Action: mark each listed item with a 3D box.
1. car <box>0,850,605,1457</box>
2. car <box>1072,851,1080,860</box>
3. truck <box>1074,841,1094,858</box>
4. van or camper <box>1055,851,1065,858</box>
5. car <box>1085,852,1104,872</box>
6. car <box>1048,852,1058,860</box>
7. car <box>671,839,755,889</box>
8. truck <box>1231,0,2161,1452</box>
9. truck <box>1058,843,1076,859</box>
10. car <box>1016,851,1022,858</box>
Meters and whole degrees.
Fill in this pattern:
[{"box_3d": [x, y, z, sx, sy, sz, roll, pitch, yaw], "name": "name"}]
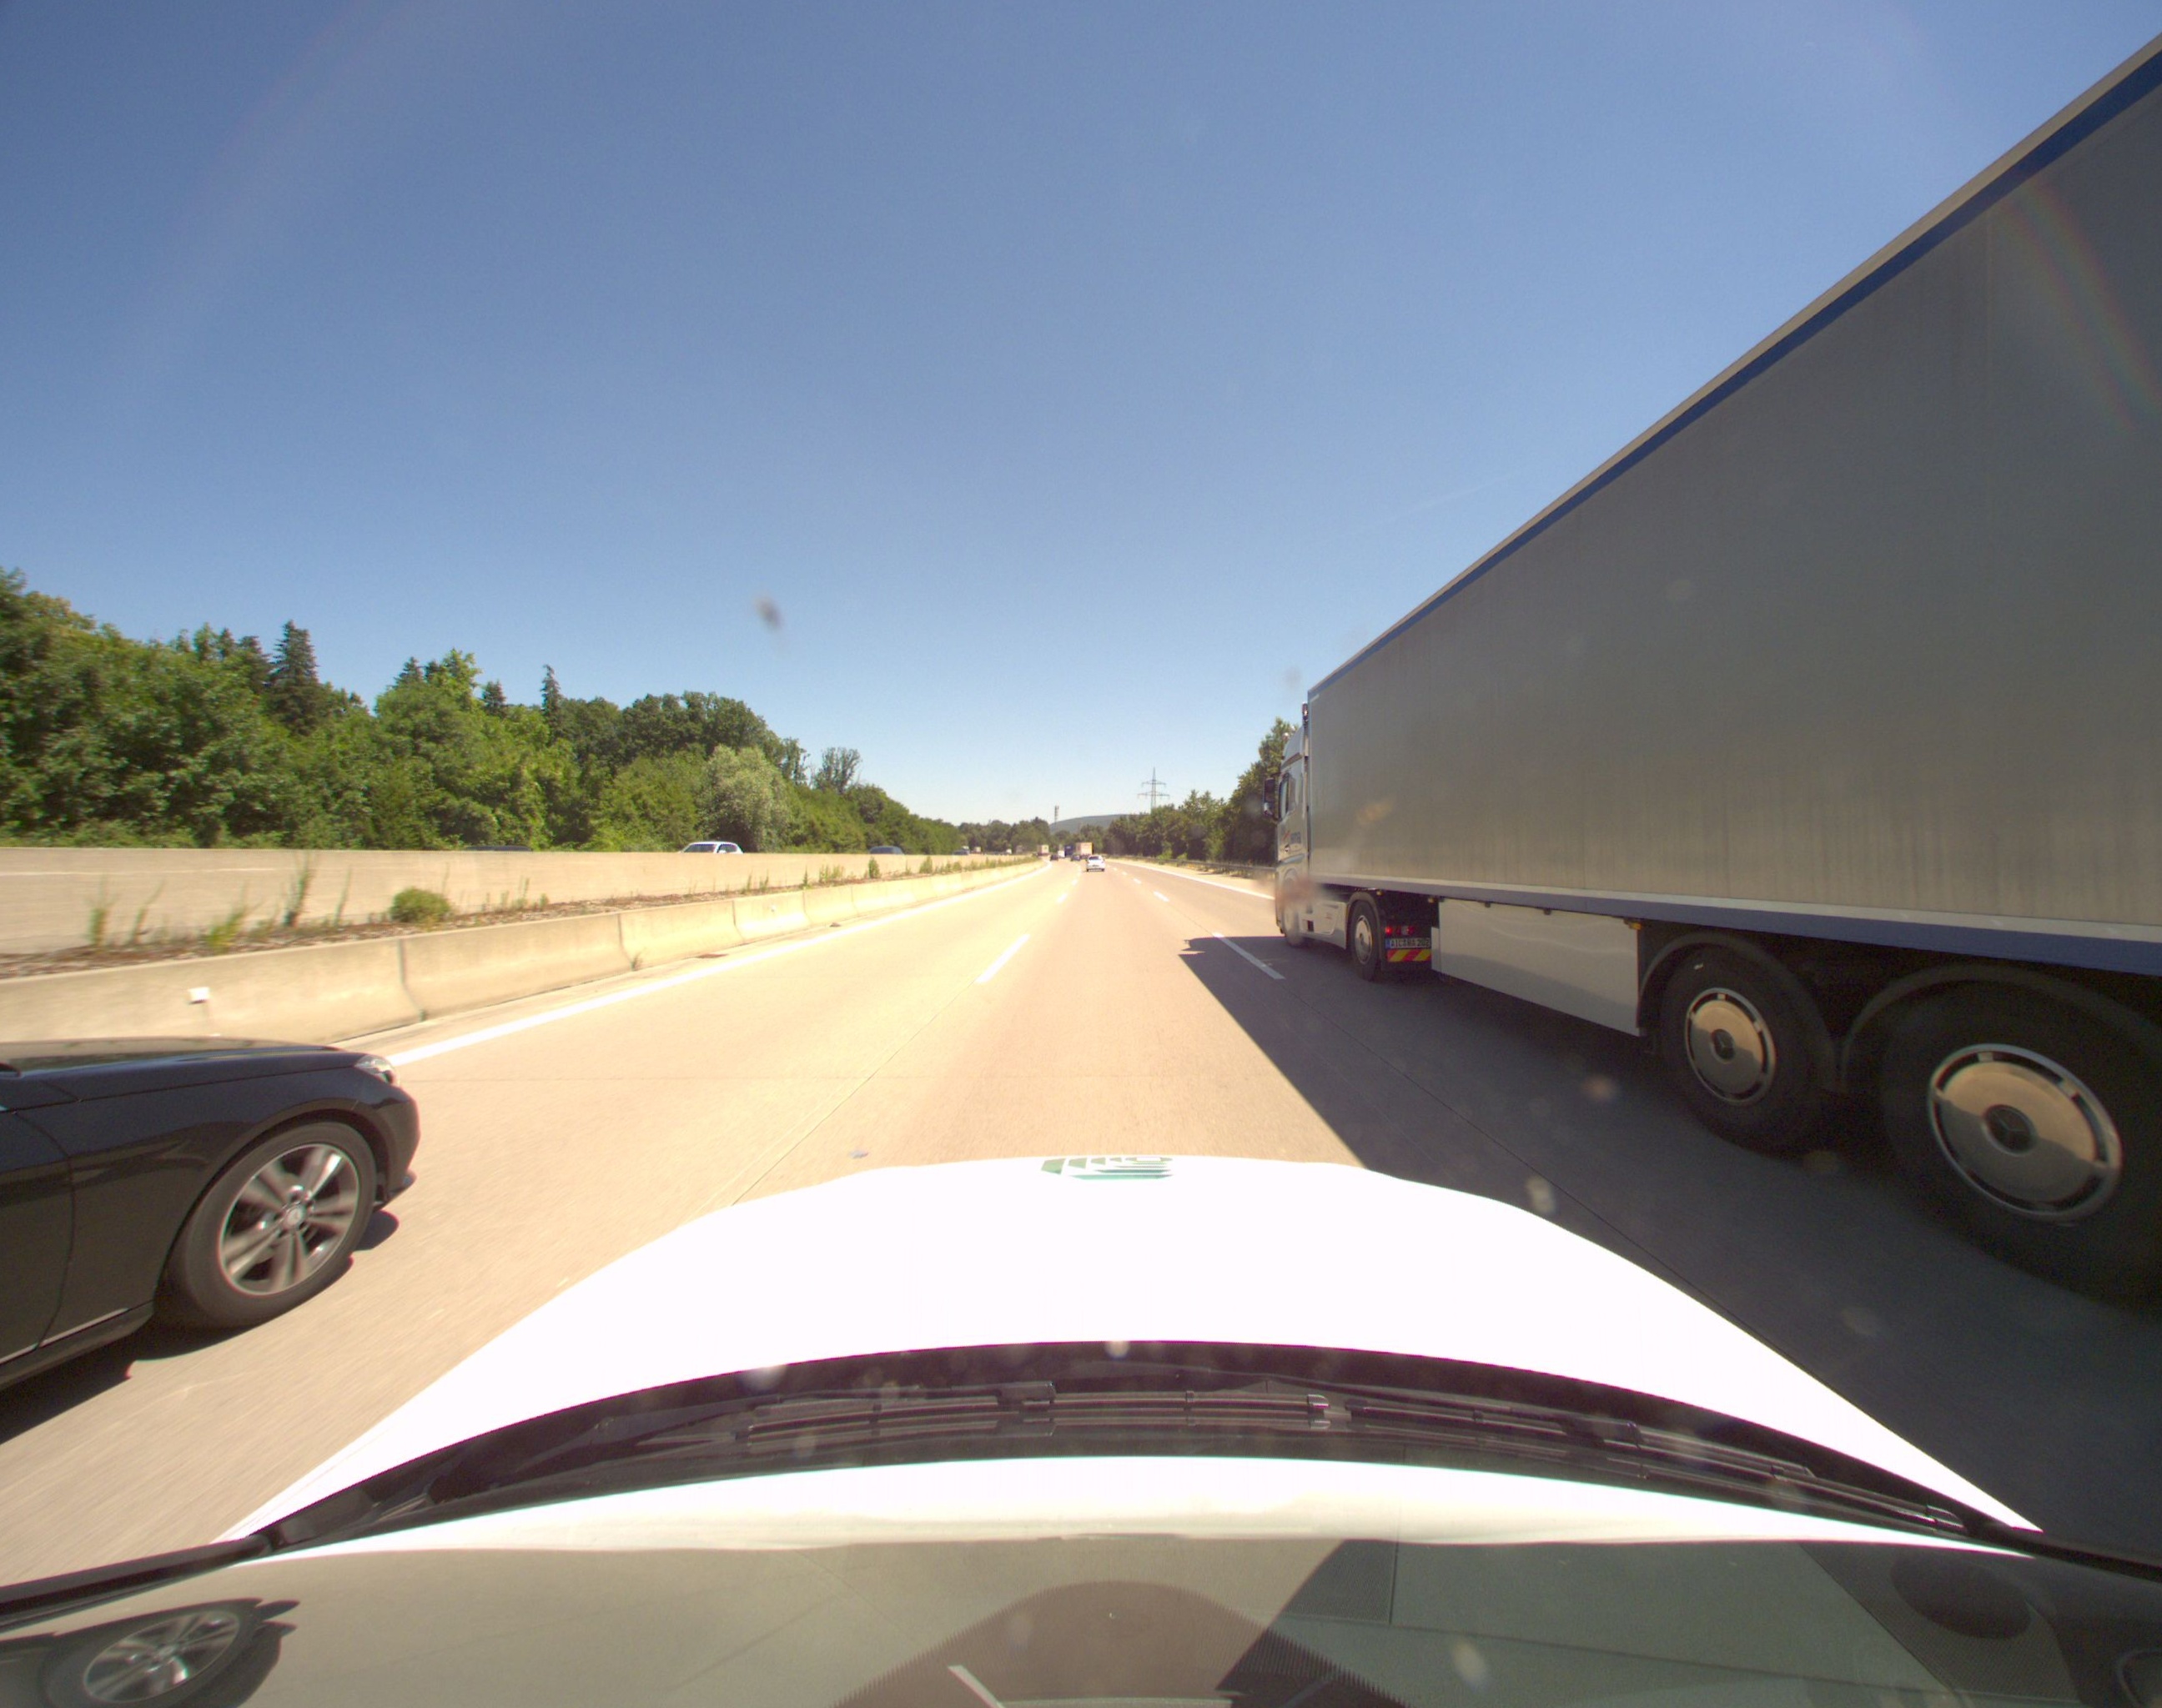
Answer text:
[{"box_3d": [-3.607, 0.755, 1.545, 1.883, 1.473, 5.607, -1, 0, 2], "name": "car"}, {"box_3d": [-0.995, 0.365, 165.105, 1.605, 1.725, 3.571, -2, 0, -1], "name": "car"}, {"box_3d": [0.649, -1.127, 197.351, 3.813, 3.889, 14.130, -2, 0, -4], "name": "truck"}, {"box_3d": [-5.715, 0.146, 222.409, 1.871, 1.838, 3.979, -2, 0, -15], "name": "van or camper"}, {"box_3d": [1.278, 0.732, 76.738, 1.635, 1.662, 3.361, 3, 0, 1], "name": "car"}, {"box_3d": [-6.193, 0.469, 181.458, 2.016, 1.700, 3.999, 4, 0, 0], "name": "car"}, {"box_3d": [-15.692, 0.415, 34.956, 1.628, 2.013, 4.104, -1, 0, 1], "name": "car"}, {"box_3d": [4.803, -1.303, 7.712, 3.565, 5.787, 18.250, 2, 0, 1], "name": "truck"}, {"box_3d": [-4.315, -0.886, 245.182, 3.905, 4.741, 14.011, -2, 0, -8], "name": "truck"}, {"box_3d": [-19.587, 0.140, 257.859, 1.654, 1.922, 4.004, -1, 0, -1], "name": "car"}]
